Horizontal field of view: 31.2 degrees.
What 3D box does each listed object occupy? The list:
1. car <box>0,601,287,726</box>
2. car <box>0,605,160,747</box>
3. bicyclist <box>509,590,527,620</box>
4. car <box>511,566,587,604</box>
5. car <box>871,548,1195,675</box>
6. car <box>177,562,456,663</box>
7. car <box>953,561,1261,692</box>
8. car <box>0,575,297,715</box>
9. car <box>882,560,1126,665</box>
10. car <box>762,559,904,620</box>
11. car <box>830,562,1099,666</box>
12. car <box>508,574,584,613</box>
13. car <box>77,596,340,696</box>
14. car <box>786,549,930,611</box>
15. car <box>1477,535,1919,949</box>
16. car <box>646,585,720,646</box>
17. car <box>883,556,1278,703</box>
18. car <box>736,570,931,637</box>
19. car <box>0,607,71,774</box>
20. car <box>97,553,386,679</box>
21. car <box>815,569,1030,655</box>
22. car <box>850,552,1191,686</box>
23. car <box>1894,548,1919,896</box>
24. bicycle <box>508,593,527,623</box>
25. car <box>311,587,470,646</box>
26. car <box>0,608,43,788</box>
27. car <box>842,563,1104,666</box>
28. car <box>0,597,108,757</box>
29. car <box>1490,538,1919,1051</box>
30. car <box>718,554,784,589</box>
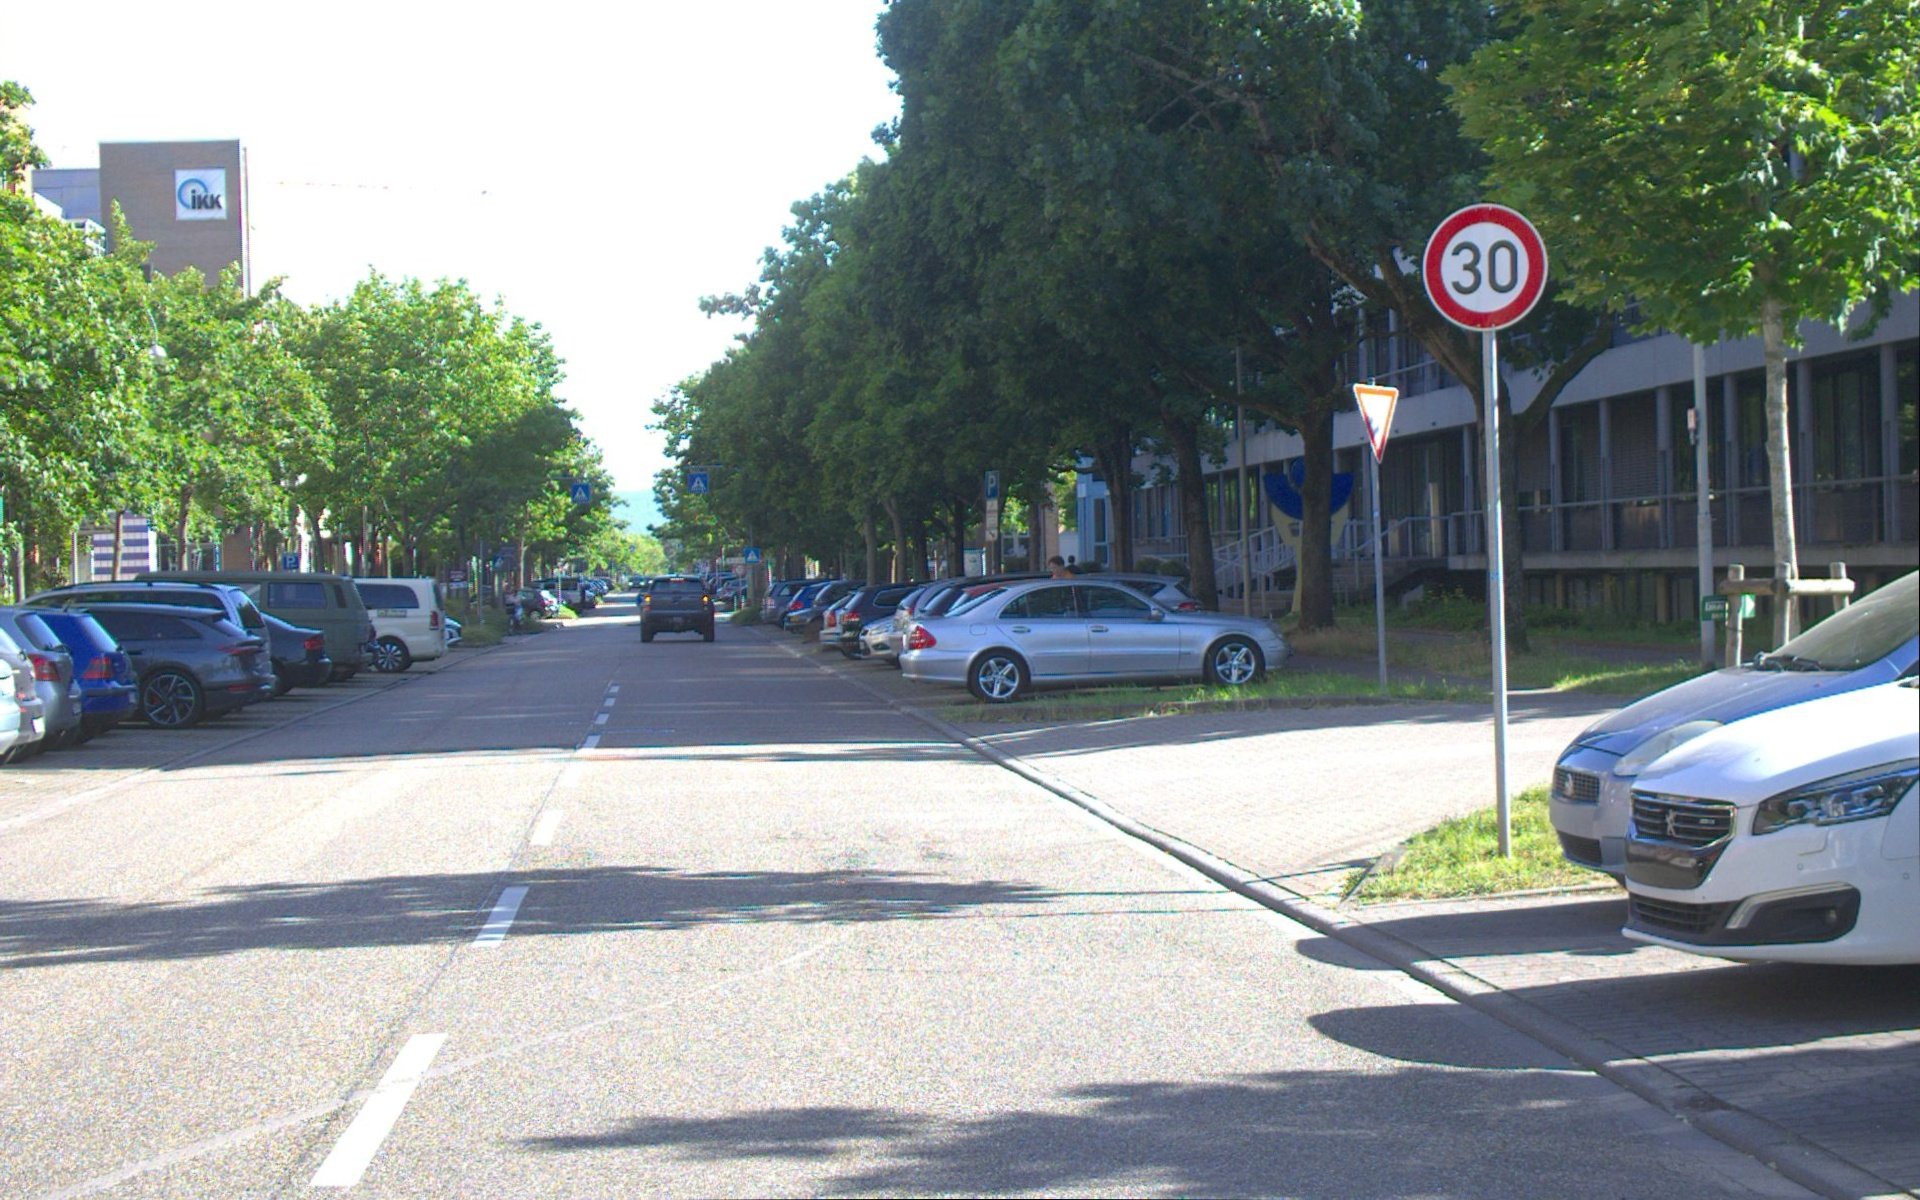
[{"bbox_3d":[-10.319,0.740,40.933,4.402,1.422,1.773,0,0,-6],"label":"car"},{"bbox_3d":[-10.356,0.779,35.780,3.725,1.422,1.841,0,0,-5],"label":"car"},{"bbox_3d":[-16.043,0.179,124.689,0.532,1.087,0.794,-2,1,-2],"label":"bicyclist"},{"bbox_3d":[-23.353,-0.873,195.330,3.987,2.007,2.000,-2,0,0],"label":"car"},{"bbox_3d":[1.040,0.154,49.736,4.515,1.537,1.922,-3,1,0],"label":"car"},{"bbox_3d":[-12.715,0.236,68.183,5.257,1.960,1.943,0,0,-5],"label":"car"},{"bbox_3d":[1.882,0.329,44.938,3.837,1.442,1.922,-3,1,-1],"label":"car"},{"bbox_3d":[-10.742,0.552,43.511,4.321,1.711,1.962,0,0,1],"label":"car"},{"bbox_3d":[0.716,0.201,56.910,3.742,1.488,1.617,-4,1,-8],"label":"car"},{"bbox_3d":[-4.134,-0.349,111.626,4.350,1.698,1.813,-4,1,-7],"label":"car"},{"bbox_3d":[0.052,0.241,61.669,4.590,1.488,1.763,-4,1,-5],"label":"car"},{"bbox_3d":[-23.155,-0.345,192.326,3.987,2.007,2.000,-2,0,0],"label":"car"},{"bbox_3d":[-11.070,0.667,50.832,3.725,1.422,1.725,0,0,-10],"label":"car"},{"bbox_3d":[-2.913,-0.578,97.441,3.949,1.509,1.813,-4,1,-3],"label":"car"},{"bbox_3d":[4.402,0.461,14.516,3.947,1.510,1.702,-4,0,-10],"label":"car"},{"bbox_3d":[-7.646,0.414,94.769,1.993,1.634,4.001,0,0,-5],"label":"car"},{"bbox_3d":[1.433,0.341,41.981,4.577,1.470,1.747,-4,1,-4],"label":"car"},{"bbox_3d":[-3.296,0.073,88.921,4.824,1.415,2.032,-4,1,-6],"label":"car"},{"bbox_3d":[-10.012,0.806,30.878,3.725,1.442,1.860,0,0,-8],"label":"car"},{"bbox_3d":[-12.111,0.253,58.180,4.487,2.083,2.083,0,0,-2],"label":"car"},{"bbox_3d":[-0.757,0.224,67.027,3.969,1.415,1.711,-4,1,-6],"label":"car"},{"bbox_3d":[0.806,0.248,47.305,4.515,1.537,1.922,-3,1,-1],"label":"car"},{"bbox_3d":[4.787,0.454,9.354,3.875,1.510,1.751,-4,0,-4],"label":"car"},{"bbox_3d":[-16.042,0.290,124.716,0.532,1.068,1.300,-2,1,-2],"label":"bicycle"},{"bbox_3d":[-14.973,0.421,90.516,3.986,1.481,1.807,-1,0,-6],"label":"car"},{"bbox_3d":[-9.645,0.802,28.539,3.725,1.442,1.876,0,0,-8],"label":"car"},{"bbox_3d":[0.194,0.234,59.325,4.285,1.488,2.004,-4,1,-5],"label":"car"},{"bbox_3d":[-10.332,0.732,33.430,3.725,1.503,1.860,0,0,-5],"label":"car"},{"bbox_3d":[4.388,0.466,11.897,4.548,1.510,1.983,-4,0,-10],"label":"car"},{"bbox_3d":[-13.114,-1.786,215.500,3.986,2.007,2.000,-2,0,-6],"label":"car"}]
